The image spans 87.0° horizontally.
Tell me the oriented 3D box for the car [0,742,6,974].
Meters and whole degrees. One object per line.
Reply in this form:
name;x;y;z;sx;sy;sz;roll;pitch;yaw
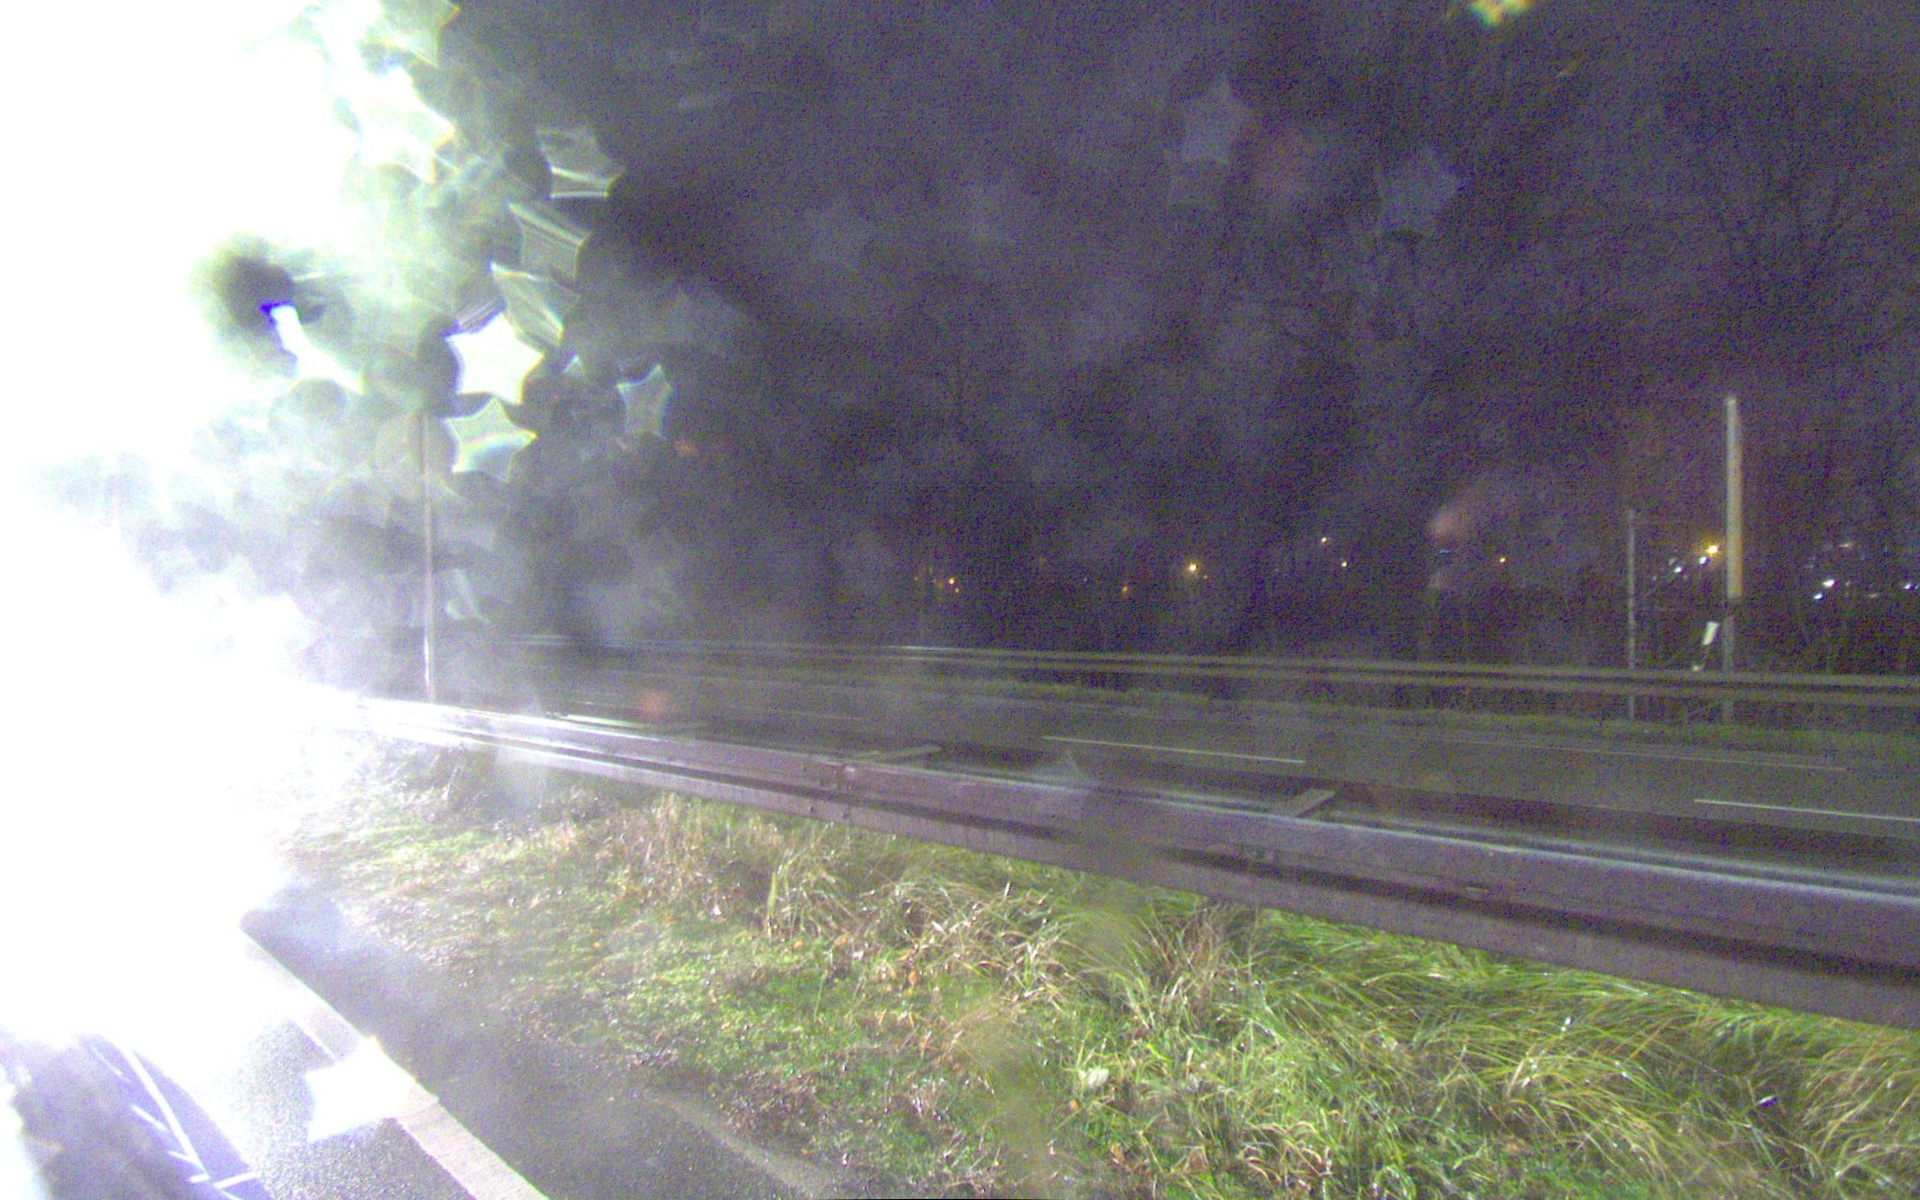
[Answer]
car;-5.686;0.851;4.712;3.388;1.435;1.478;-1;1;41
